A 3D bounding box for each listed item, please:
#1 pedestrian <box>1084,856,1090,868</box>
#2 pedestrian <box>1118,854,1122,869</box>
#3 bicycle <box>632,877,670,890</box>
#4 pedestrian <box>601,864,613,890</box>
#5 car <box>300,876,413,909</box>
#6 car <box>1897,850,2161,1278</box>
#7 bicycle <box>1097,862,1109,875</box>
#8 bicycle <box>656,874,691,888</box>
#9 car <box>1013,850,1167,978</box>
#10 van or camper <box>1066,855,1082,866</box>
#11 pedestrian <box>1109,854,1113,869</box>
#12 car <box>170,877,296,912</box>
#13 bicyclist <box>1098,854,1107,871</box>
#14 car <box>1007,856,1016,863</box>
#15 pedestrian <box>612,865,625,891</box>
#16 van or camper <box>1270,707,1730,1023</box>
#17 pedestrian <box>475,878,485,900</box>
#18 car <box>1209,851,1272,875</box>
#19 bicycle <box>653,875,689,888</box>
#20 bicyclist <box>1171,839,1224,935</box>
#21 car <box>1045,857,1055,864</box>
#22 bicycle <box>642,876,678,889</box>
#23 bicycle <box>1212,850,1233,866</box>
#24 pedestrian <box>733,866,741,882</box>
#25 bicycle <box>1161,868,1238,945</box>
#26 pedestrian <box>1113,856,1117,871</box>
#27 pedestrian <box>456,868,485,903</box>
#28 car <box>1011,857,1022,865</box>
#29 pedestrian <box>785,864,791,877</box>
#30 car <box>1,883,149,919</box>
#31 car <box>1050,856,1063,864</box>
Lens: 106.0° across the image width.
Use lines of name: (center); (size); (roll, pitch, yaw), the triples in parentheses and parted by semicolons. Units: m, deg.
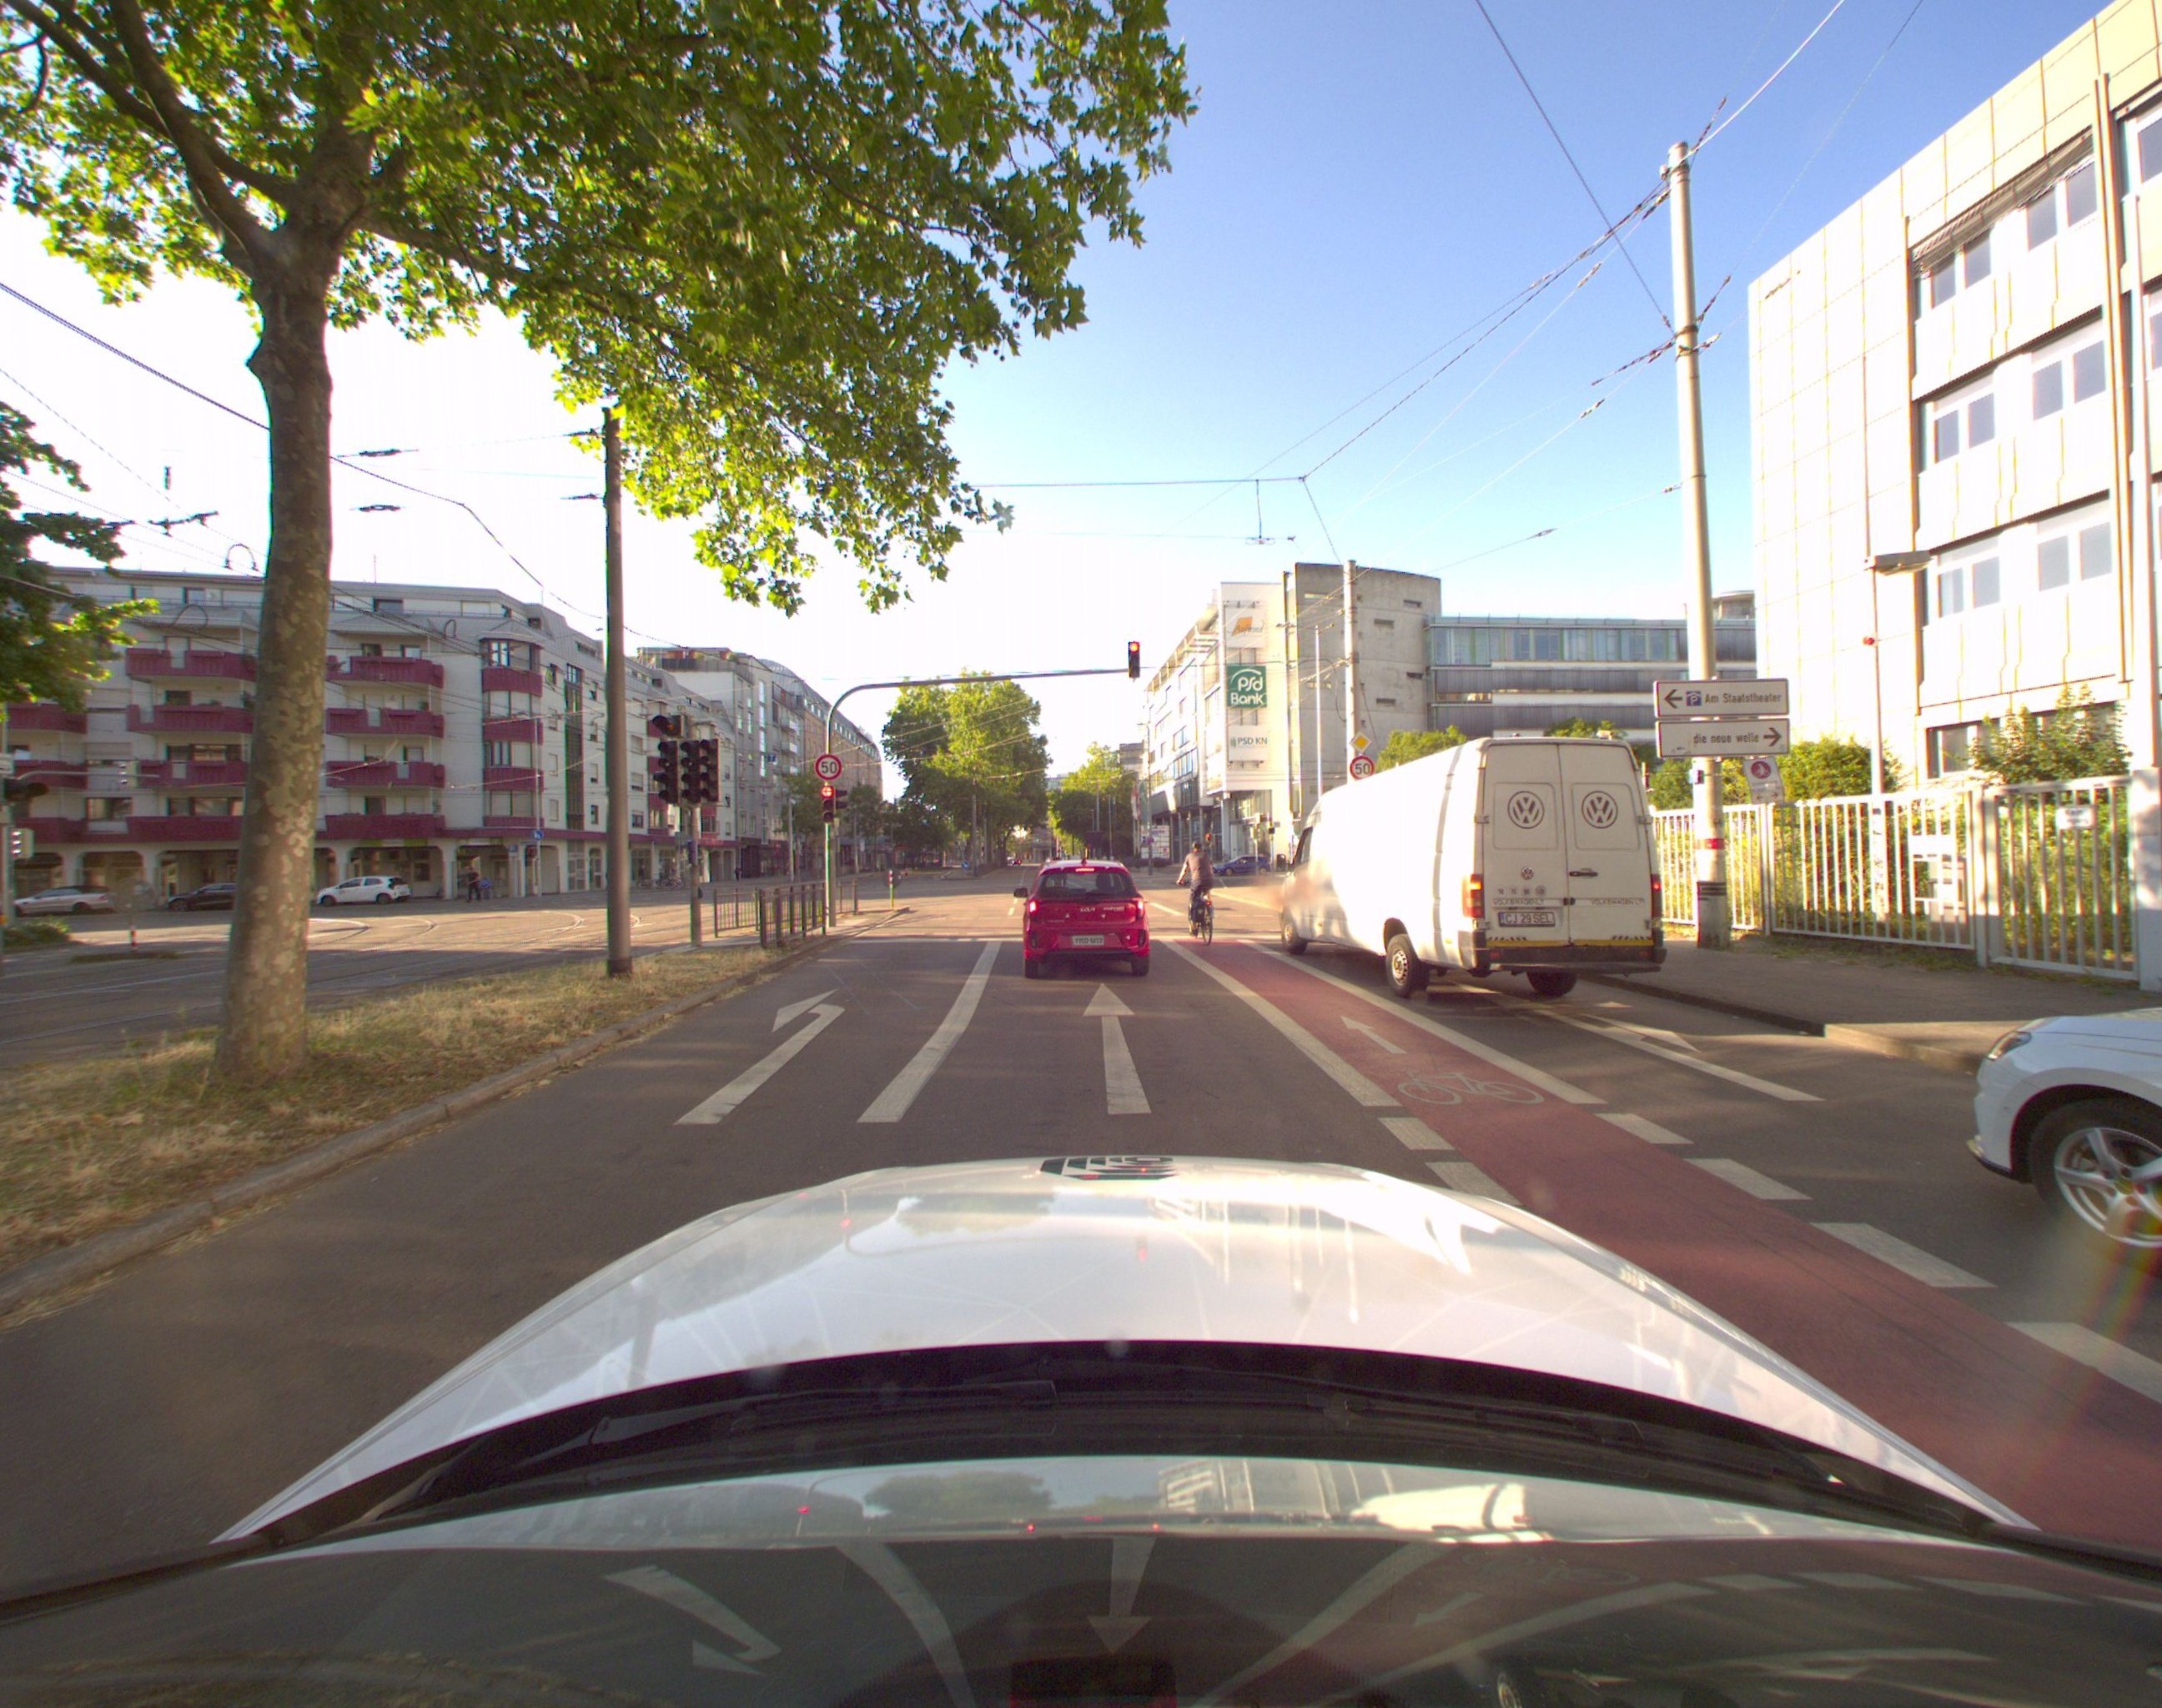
pedestrian: (0.872, 1.232, 119.186); (0.743, 1.716, 0.745); (-2, 0, -12)
pedestrian: (4.038, 0.760, 83.935); (0.292, 1.562, 0.315); (-2, 0, 15)
bicycle: (-29.024, 1.966, 54.983); (2.168, 0.787, 0.639); (-2, 0, -8)
pedestrian: (-31.495, 1.530, 54.105); (0.510, 1.699, 0.527); (-2, 0, -6)
car: (-37.919, 1.968, 42.734); (3.996, 1.464, 1.792); (-2, 0, -16)
car: (4.699, 0.733, 1.802); (1.796, 1.501, 3.980); (0, 0, -1)
bicycle: (2.201, 1.446, 81.814); (0.791, 1.161, 2.494); (-2, 0, -6)
bicycle: (-28.875, 1.904, 57.763); (2.168, 0.951, 0.490); (-2, 0, -8)
car: (-0.004, 0.718, 11.717); (1.836, 1.489, 3.711); (-2, 0, -4)
van or camper: (-1.144, 1.020, 137.096); (2.143, 1.750, 4.421); (-2, 0, -7)
pedestrian: (3.097, 0.770, 83.706); (0.294, 1.562, 0.301); (-2, 0, -7)
car: (-42.864, 2.022, 41.292); (3.996, 1.464, 1.792); (-2, 0, -17)
bicyclist: (2.199, 0.859, 81.591); (0.784, 1.635, 0.637); (-1, 0, -7)
car: (-19.291, 1.497, 227.592); (1.986, 2.013, 4.002); (-2, 0, 2)
pedestrian: (-30.784, 1.562, 54.234); (0.510, 1.699, 0.527); (-2, 0, -6)
van or camper: (4.422, 0.111, 10.284); (2.264, 2.733, 6.339); (1, 0, -3)
pedestrian: (-33.174, 1.921, 44.940); (0.303, 1.214, 0.317); (-2, 0, -10)
car: (11.865, 0.666, 60.671); (4.258, 1.568, 1.844); (-2, 0, -9)
bicycle: (-28.783, 1.949, 57.126); (2.168, 0.824, 0.526); (-2, 0, -8)
bicyclist: (2.084, 0.579, 14.654); (0.743, 1.669, 0.742); (0, 0, -10)
car: (-7.083, 1.391, 185.113); (1.883, 1.528, 4.421); (-2, 0, -7)
bicycle: (-28.824, 1.975, 55.762); (2.168, 0.787, 0.490); (-2, 0, -8)
bicycle: (13.868, 0.384, 79.915); (1.932, 1.443, 0.574); (-2, 0, -6)
pedestrian: (-32.581, 1.882, 77.165); (0.511, 1.459, 0.526); (-2, 0, -12)
bicycle: (2.096, 0.896, 14.682); (0.744, 1.224, 2.148); (0, 0, -10)
pedestrian: (3.505, 0.960, 83.894); (0.292, 1.562, 0.356); (-2, 0, 6)
pedestrian: (-30.295, 1.539, 40.422); (0.708, 1.662, 1.030); (-2, 0, -9)
car: (-14.253, 1.529, 180.288); (2.057, 1.654, 3.481); (-2, 0, -9)
pedestrian: (-33.637, 1.931, 93.502); (0.510, 1.459, 0.527); (-2, 0, -6)
car: (-49.116, 2.280, 39.850); (4.264, 1.464, 1.793); (-2, 0, -15)
car: (-5.119, 1.291, 170.403); (2.475, 1.528, 4.422); (-2, 0, -6)
